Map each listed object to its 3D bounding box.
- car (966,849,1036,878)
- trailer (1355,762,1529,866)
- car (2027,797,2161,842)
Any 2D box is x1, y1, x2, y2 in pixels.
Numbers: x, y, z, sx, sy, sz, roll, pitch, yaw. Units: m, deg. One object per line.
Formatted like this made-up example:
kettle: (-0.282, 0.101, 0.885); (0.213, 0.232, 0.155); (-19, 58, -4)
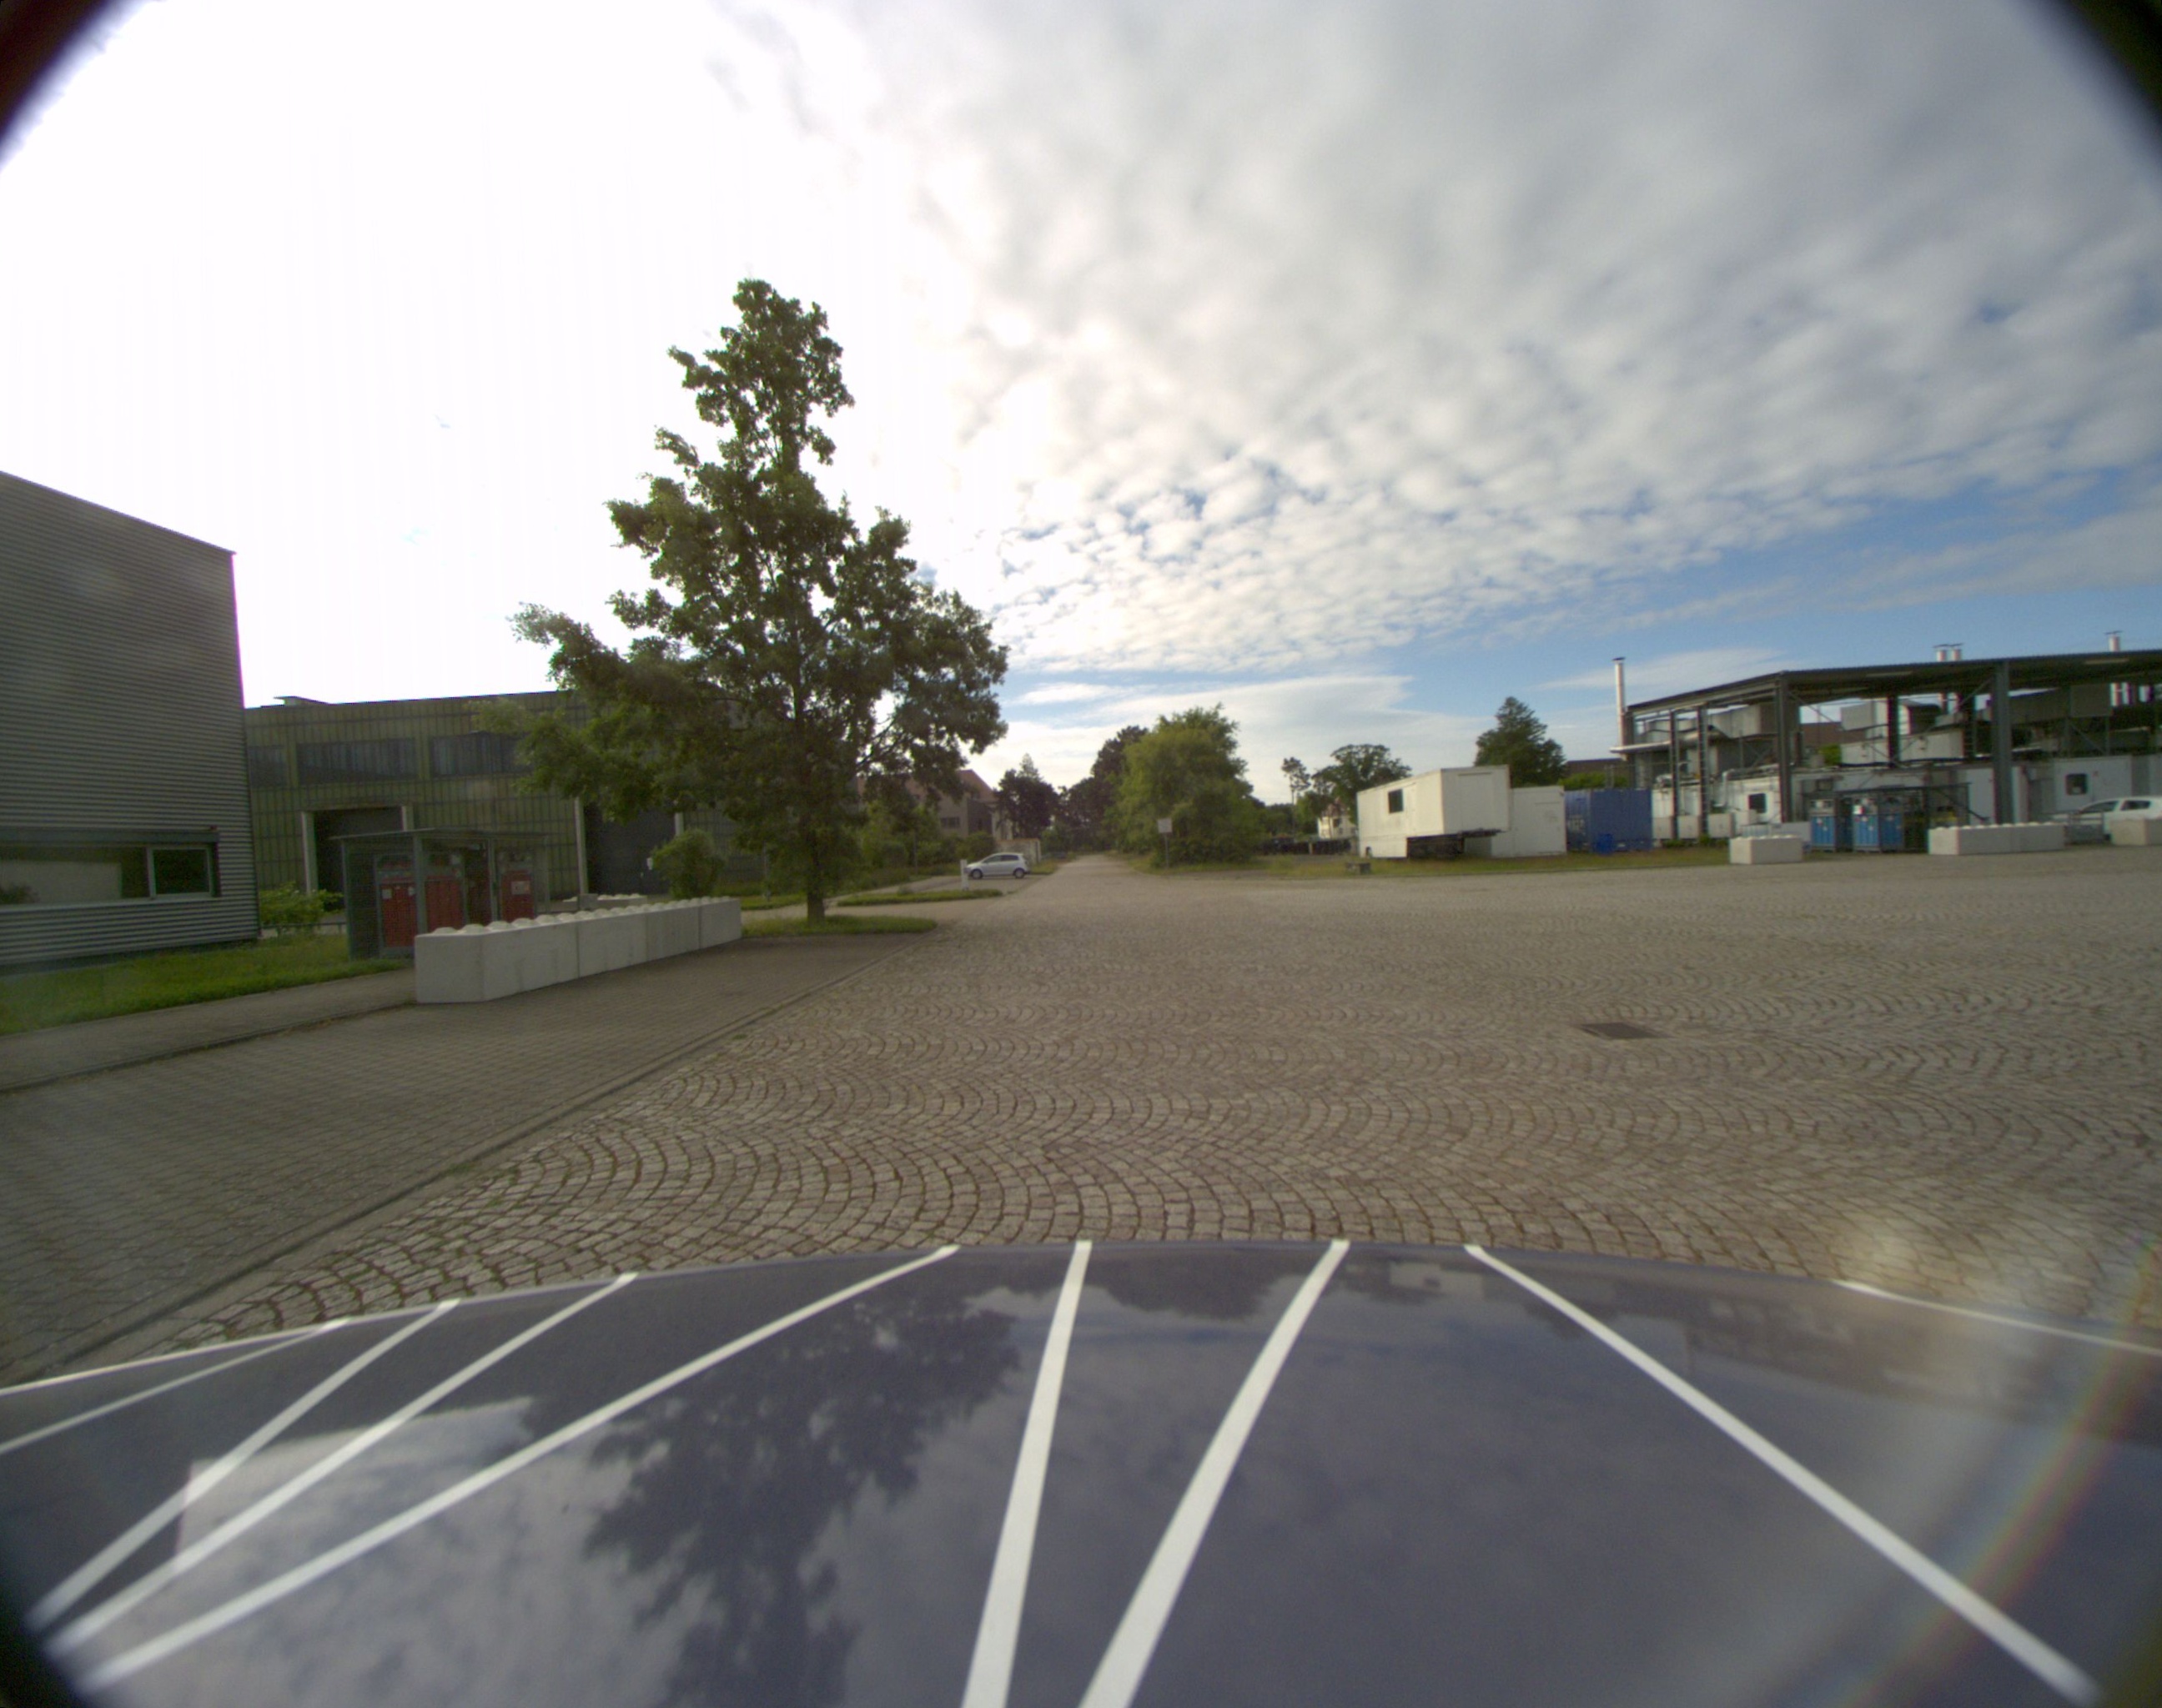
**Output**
car: (-4.933, 0.566, 47.245); (4.132, 1.615, 1.938); (-1, 1, -1)
trailer: (15.089, -1.500, 33.073); (2.875, 3.641, 10.779); (-3, 0, 3)
car: (36.328, -1.180, 26.399); (1.933, 1.464, 3.999); (-1, 1, -1)
